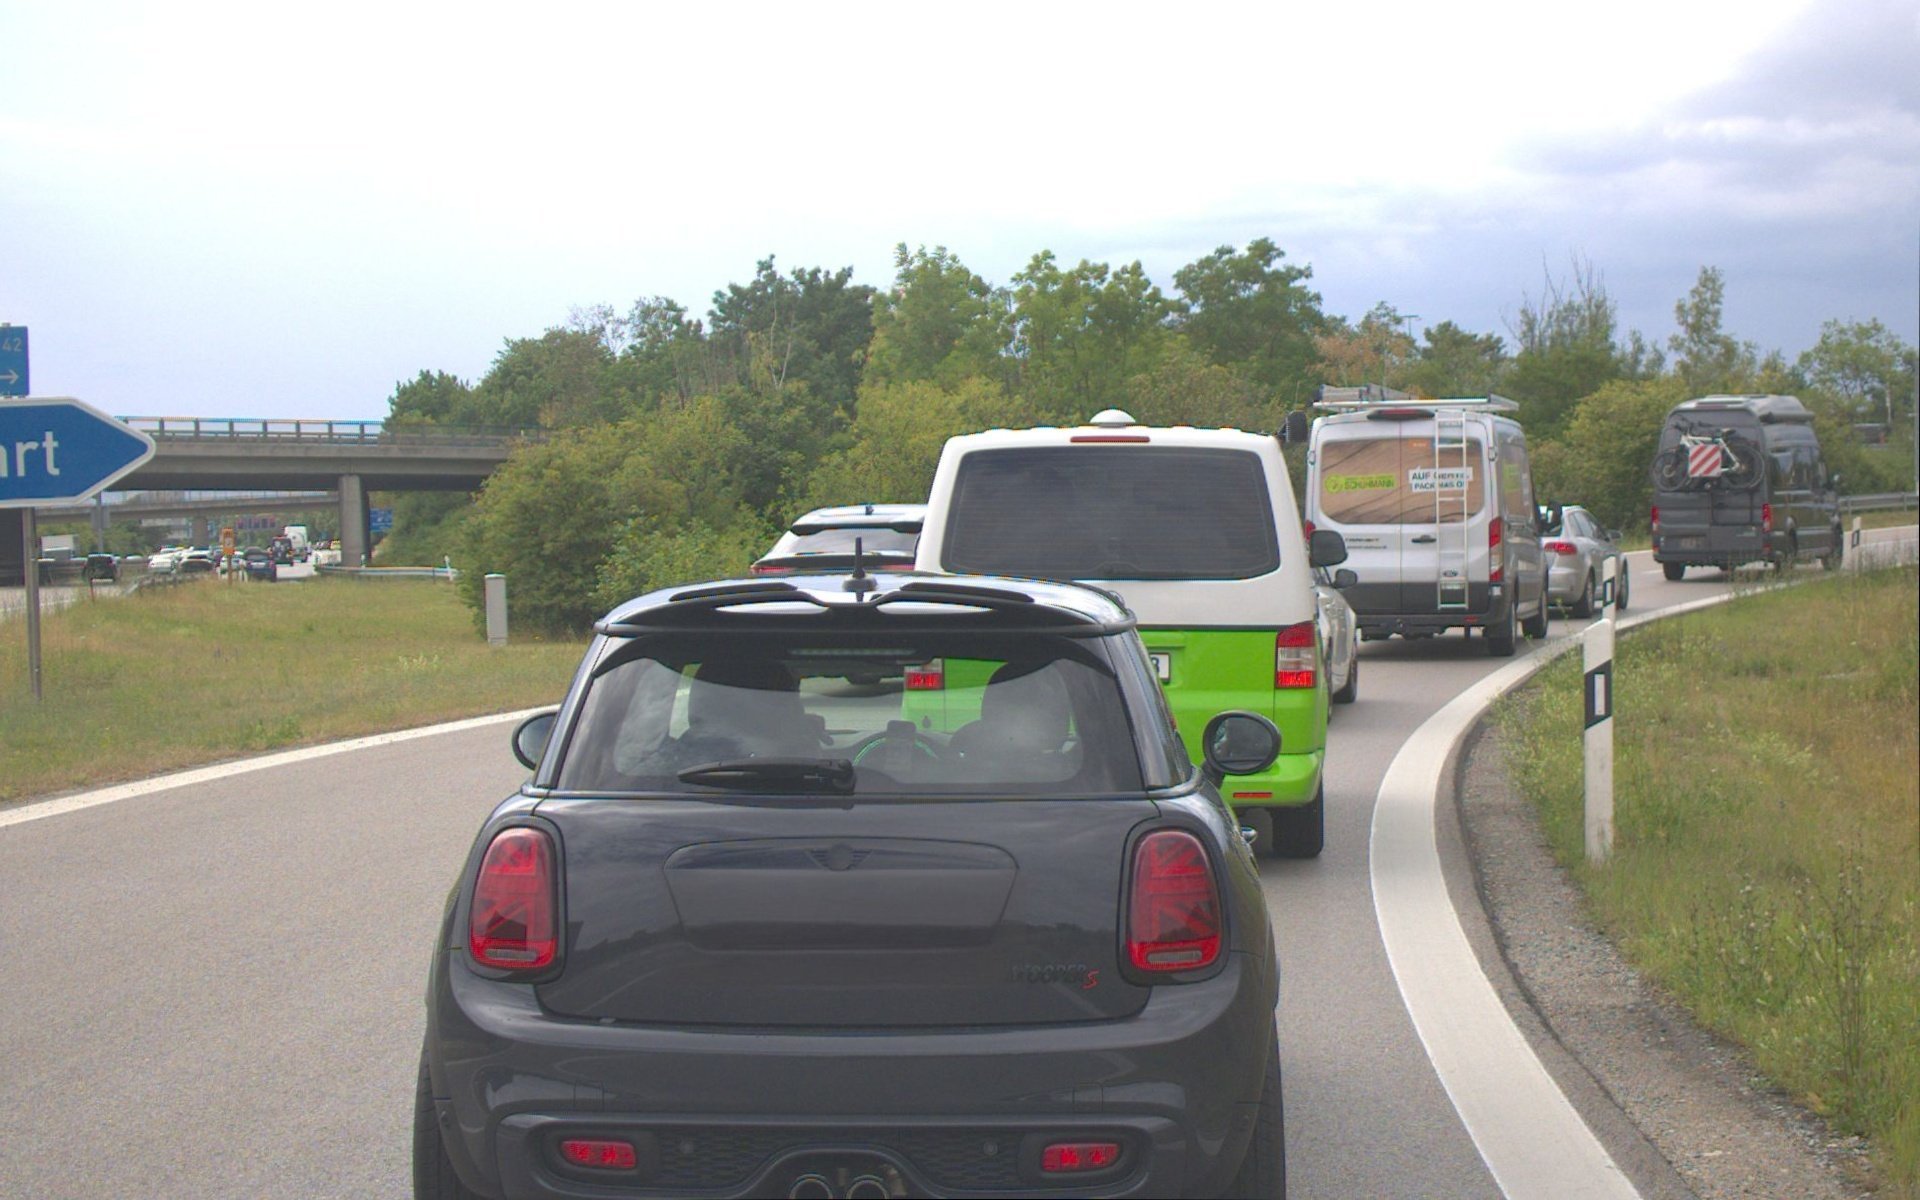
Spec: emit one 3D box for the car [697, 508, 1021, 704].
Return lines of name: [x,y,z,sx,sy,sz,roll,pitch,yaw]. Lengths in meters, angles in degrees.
car: [-0.779,0.008,29.703,1.834,1.560,4.496,0,1,11]

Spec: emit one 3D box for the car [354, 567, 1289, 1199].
car: [-0.234,0.642,8.218,1.727,1.409,3.725,0,1,1]

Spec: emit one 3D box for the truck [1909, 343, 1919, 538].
truck: [21.663,-3.190,70.767,2.233,3.893,6.004,1,0,35]

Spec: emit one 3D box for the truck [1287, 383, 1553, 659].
truck: [4.885,-0.849,35.852,2.180,2.649,5.106,0,2,14]

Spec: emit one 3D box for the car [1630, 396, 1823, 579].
car: [12.236,-1.774,54.703,2.108,2.786,3.995,1,2,26]

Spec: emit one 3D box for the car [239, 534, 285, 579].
car: [-32.230,-1.989,158.795,1.993,2.007,4.001,1,0,-11]

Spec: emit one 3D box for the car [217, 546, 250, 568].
car: [-47.582,-2.797,225.185,1.779,1.394,4.030,-1,1,-7]

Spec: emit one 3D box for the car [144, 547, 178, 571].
car: [-49.068,-2.536,211.151,1.779,1.394,4.307,-1,1,-10]

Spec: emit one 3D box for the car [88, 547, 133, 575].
car: [-43.968,-2.015,177.980,1.779,1.394,4.307,-1,1,-8]

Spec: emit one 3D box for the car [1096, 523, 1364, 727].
car: [2.083,0.140,25.697,1.763,1.394,3.724,-1,1,8]

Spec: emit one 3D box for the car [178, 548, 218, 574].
car: [-41.391,-2.128,186.872,1.779,1.394,4.552,-1,1,-8]

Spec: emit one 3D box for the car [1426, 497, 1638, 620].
car: [7.402,-0.546,44.222,1.868,1.504,3.996,0,1,22]

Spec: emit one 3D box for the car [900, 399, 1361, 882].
car: [0.936,0.125,16.393,1.785,2.007,3.999,0,1,9]
